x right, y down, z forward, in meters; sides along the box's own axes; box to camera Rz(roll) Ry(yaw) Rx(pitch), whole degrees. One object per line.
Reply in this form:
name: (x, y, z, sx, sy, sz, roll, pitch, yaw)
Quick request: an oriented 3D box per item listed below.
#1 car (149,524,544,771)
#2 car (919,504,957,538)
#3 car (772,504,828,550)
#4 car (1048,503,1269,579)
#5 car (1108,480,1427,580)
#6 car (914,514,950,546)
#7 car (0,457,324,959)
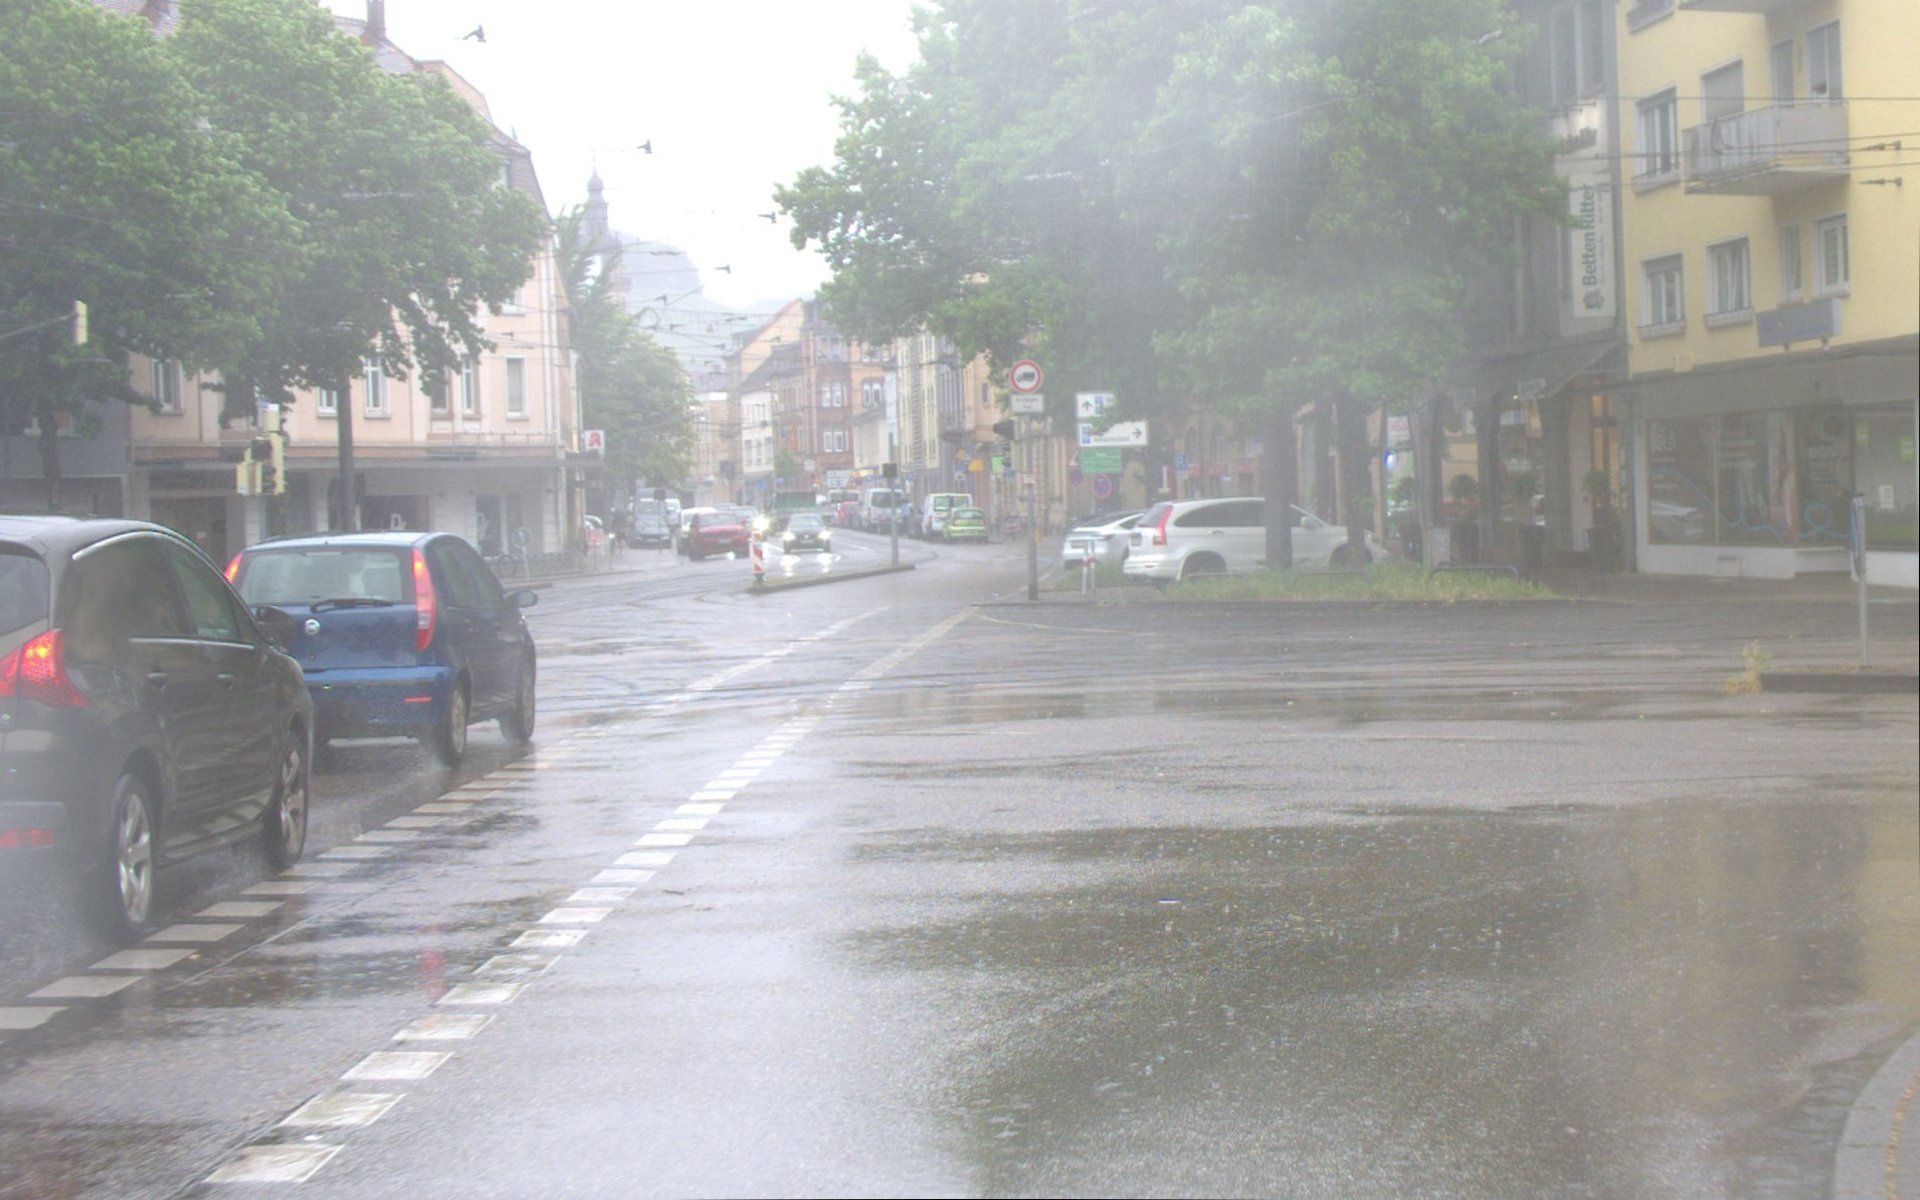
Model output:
car: (-3.865, 0.319, 22.283, 1.882, 1.454, 3.831, 0, -1, 0)
car: (-0.939, -3.336, 145.006, 1.475, 1.358, 3.462, 0, 0, -2)
car: (-6.050, -2.731, 129.676, 1.993, 1.683, 4.001, 0, 0, -4)
car: (4.521, -1.341, 78.040, 4.584, 1.551, 1.998, -1, 2, 20)
car: (5.176, -1.202, 58.191, 4.972, 1.469, 2.001, -2, 2, -11)
car: (-1.242, -3.076, 151.575, 1.475, 1.358, 3.462, 0, 0, -2)
car: (-3.847, 0.302, 13.756, 1.801, 1.703, 4.191, 0, 2, 0)
